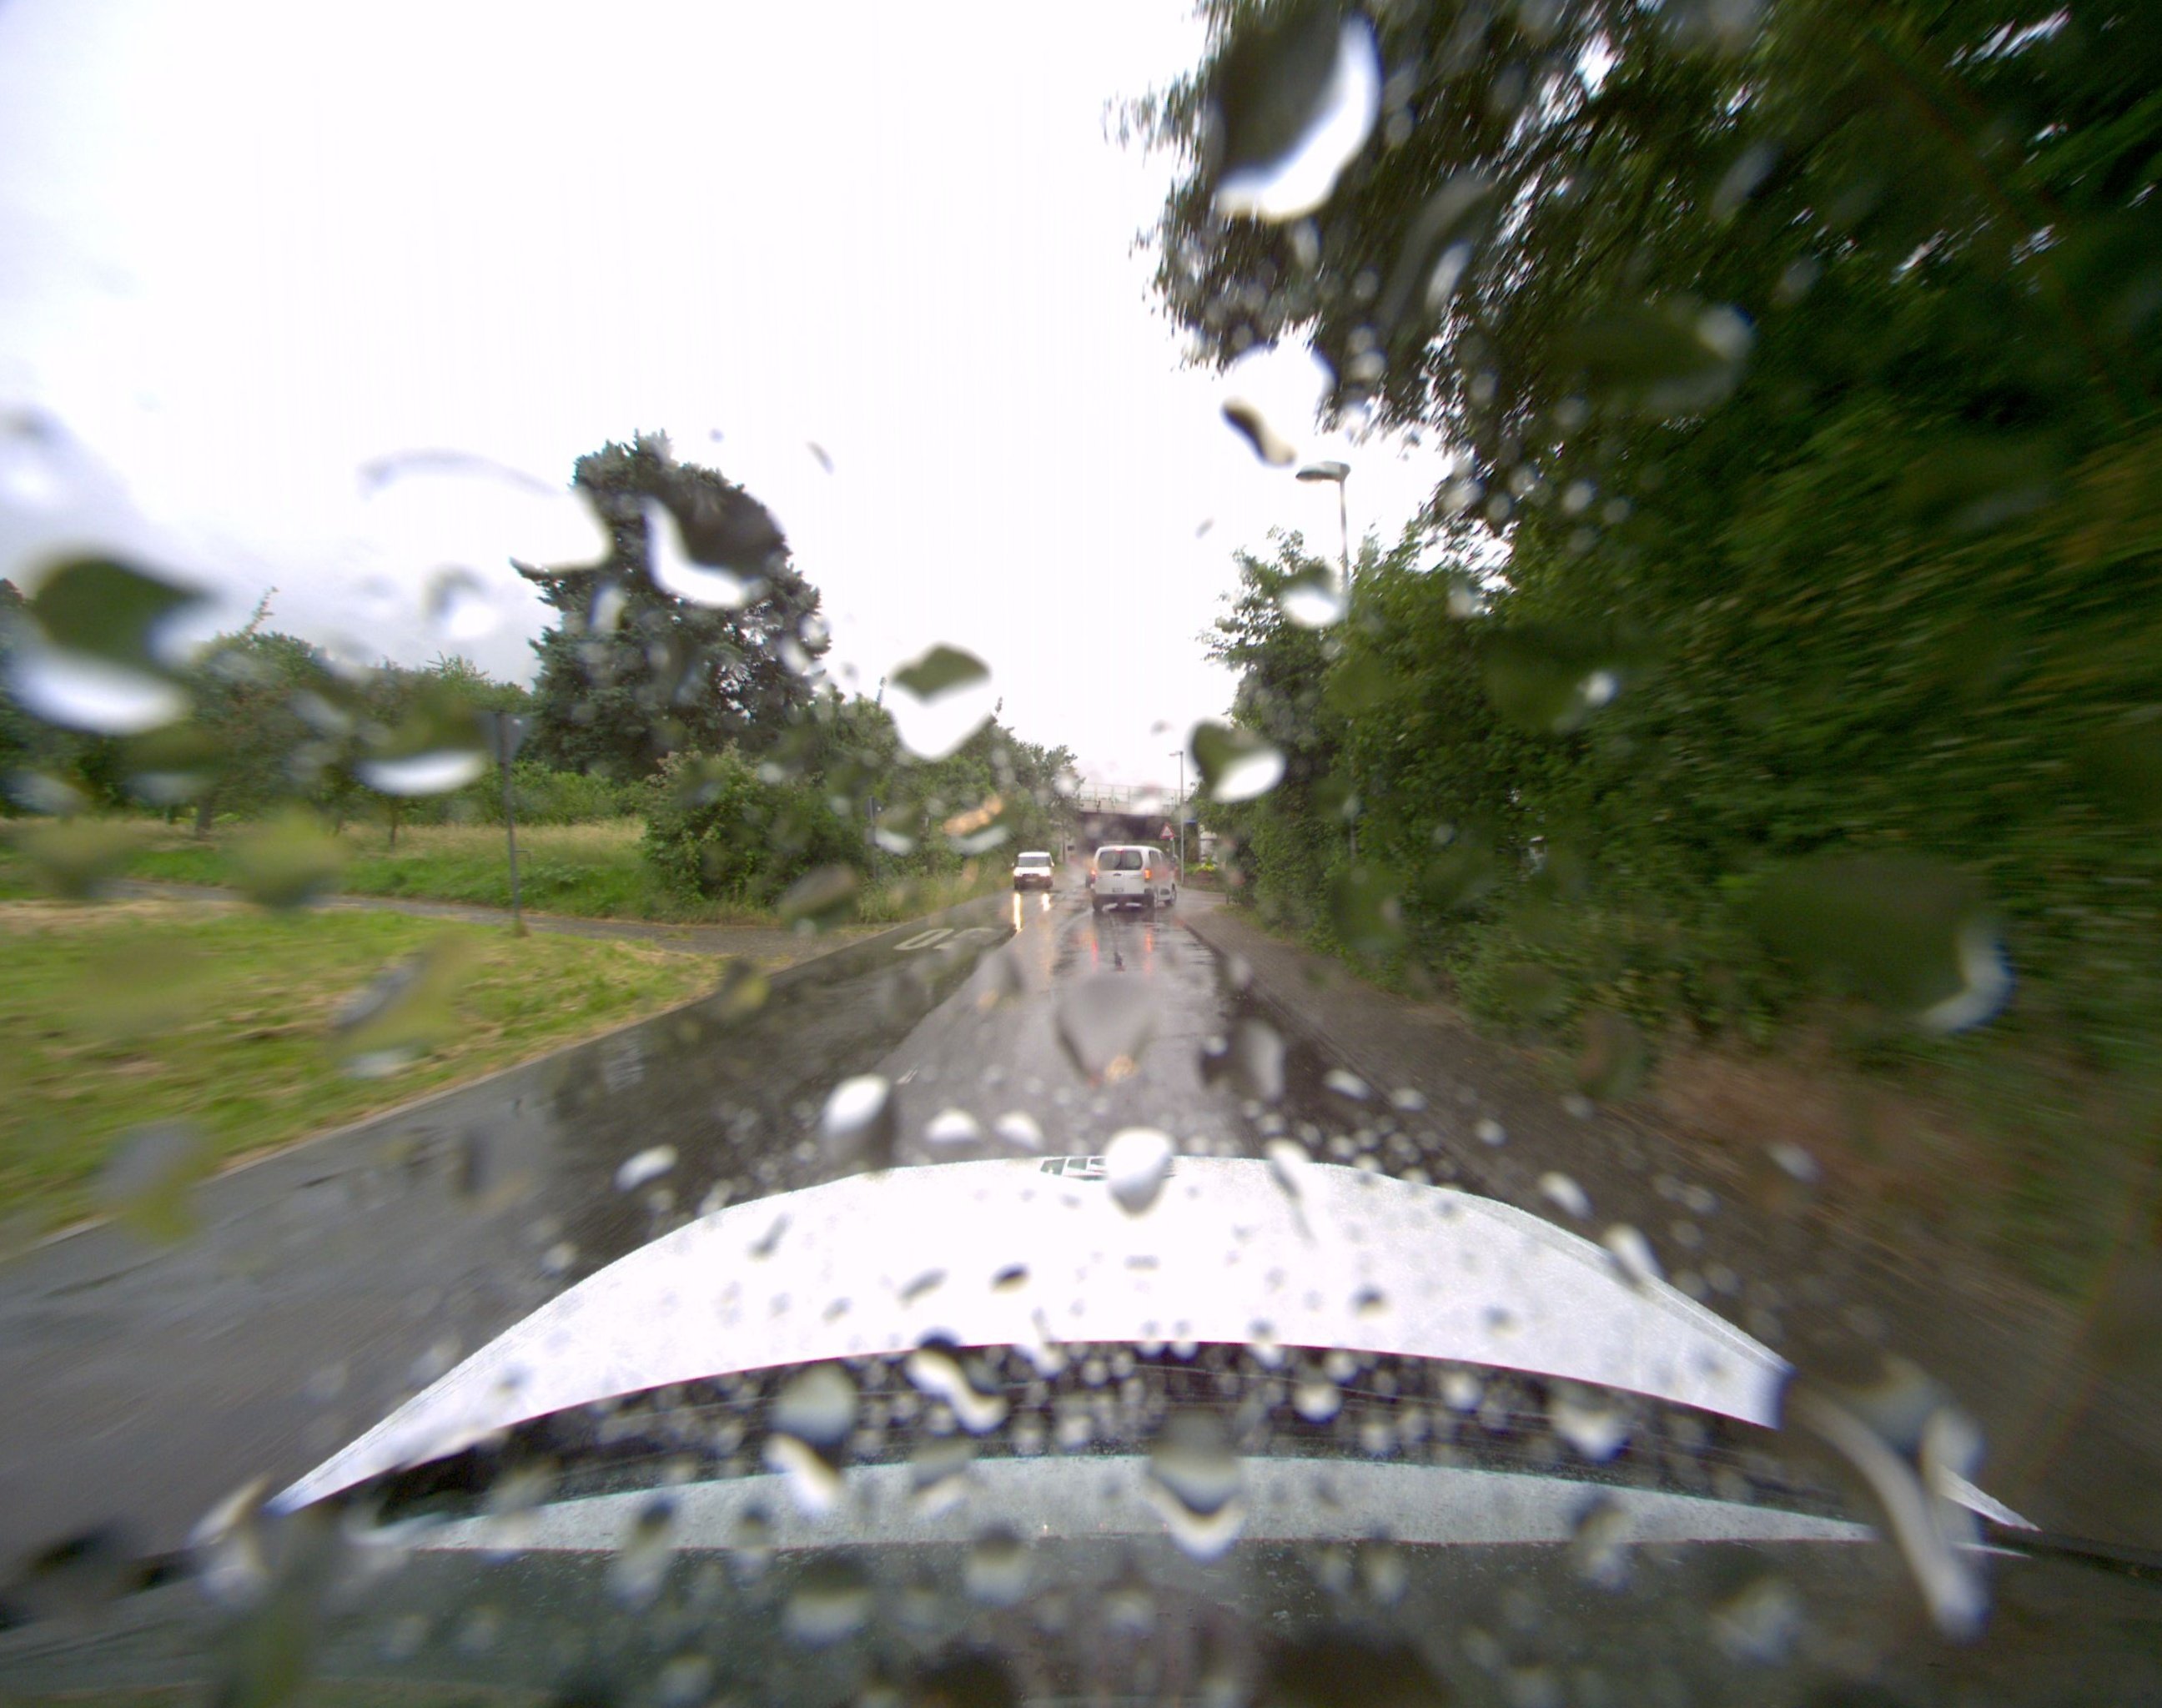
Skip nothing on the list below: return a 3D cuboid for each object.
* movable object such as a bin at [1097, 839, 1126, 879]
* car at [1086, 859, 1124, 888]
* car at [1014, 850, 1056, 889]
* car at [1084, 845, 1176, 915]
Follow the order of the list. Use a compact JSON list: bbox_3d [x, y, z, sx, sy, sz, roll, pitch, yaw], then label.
[{"bbox_3d":[2.065,0.319,53.972,1.753,2.548,4.244,0,0,4],"label":"movable object such as a bin"},{"bbox_3d":[1.262,0.933,41.166,1.701,1.377,4.005,0,0,4],"label":"car"},{"bbox_3d":[-2.254,0.726,40.620,1.817,1.832,4.307,-1,0,0],"label":"car"},{"bbox_3d":[1.548,0.696,23.915,1.883,1.807,4.016,-2,0,15],"label":"car"}]
